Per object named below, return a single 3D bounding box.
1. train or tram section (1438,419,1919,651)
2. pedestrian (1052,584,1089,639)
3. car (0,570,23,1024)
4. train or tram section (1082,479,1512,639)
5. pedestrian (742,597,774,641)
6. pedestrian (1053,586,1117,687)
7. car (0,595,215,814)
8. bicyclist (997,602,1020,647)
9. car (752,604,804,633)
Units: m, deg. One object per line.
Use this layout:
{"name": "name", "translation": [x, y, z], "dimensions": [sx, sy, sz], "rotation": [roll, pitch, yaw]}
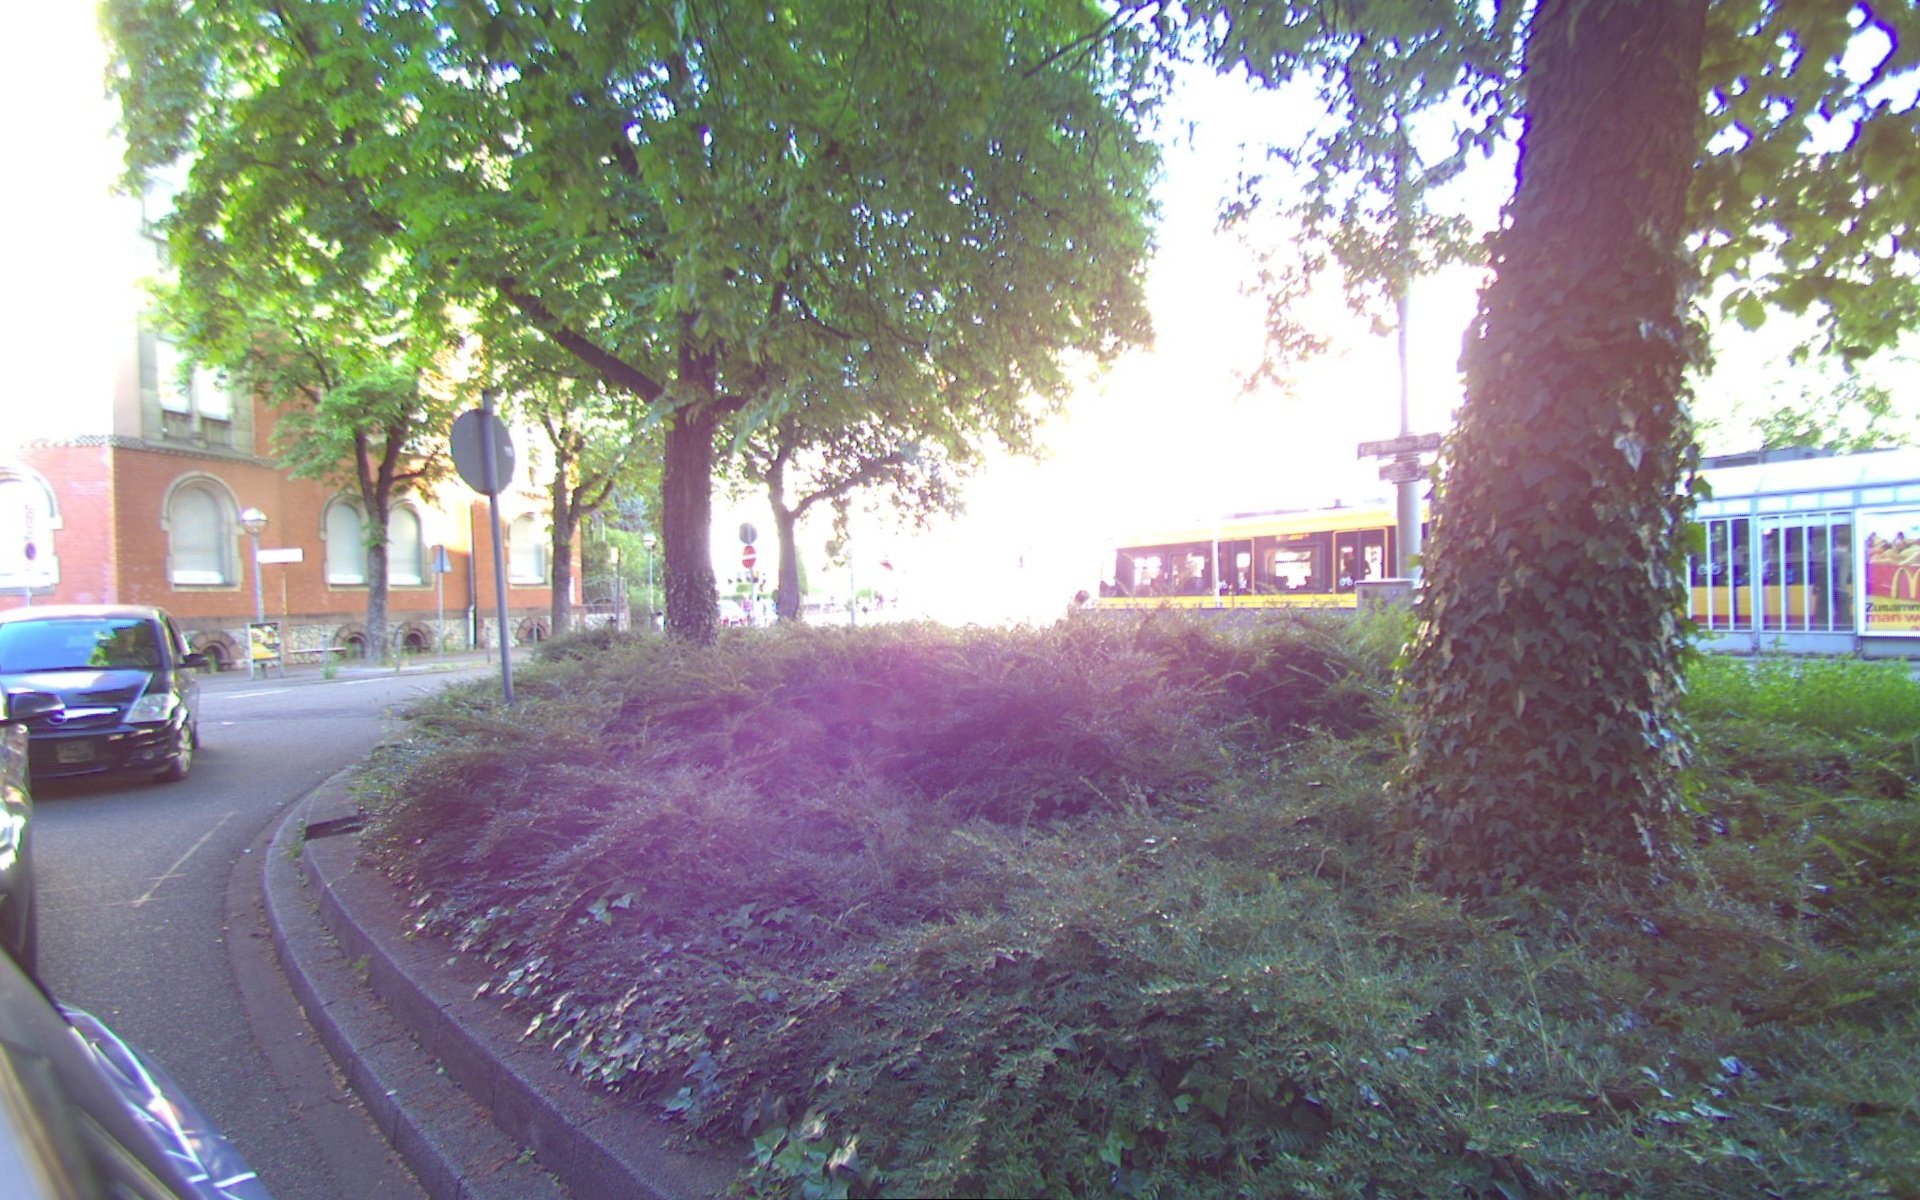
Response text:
{"name": "train or tram section", "translation": [15.191, -1.035, 18.064], "dimensions": [2.739, 3.614, 12.456], "rotation": [-2, 0, -32]}
{"name": "pedestrian", "translation": [3.443, 0.358, 31.501], "dimensions": [0.898, 1.647, 0.720], "rotation": [-3, 1, 22]}
{"name": "car", "translation": [-5.428, 0.738, 4.530], "dimensions": [1.768, 1.590, 4.264], "rotation": [-1, -1, -43]}
{"name": "train or tram section", "translation": [8.573, -0.874, 28.774], "dimensions": [2.727, 3.584, 12.718], "rotation": [-2, 0, -32]}
{"name": "pedestrian", "translation": [-7.991, 0.748, 40.053], "dimensions": [0.722, 1.647, 0.897], "rotation": [-3, 1, 27]}
{"name": "pedestrian", "translation": [1.861, 0.535, 15.150], "dimensions": [0.698, 1.454, 0.602], "rotation": [-2, 0, -25]}
{"name": "car", "translation": [-8.284, 0.839, 9.440], "dimensions": [1.656, 1.640, 3.691], "rotation": [-2, 0, -44]}
{"name": "bicyclist", "translation": [1.725, 0.859, 35.922], "dimensions": [0.588, 1.585, 0.557], "rotation": [-2, 0, -30]}
{"name": "car", "translation": [-9.646, 0.948, 53.389], "dimensions": [1.707, 1.428, 4.013], "rotation": [-2, 0, -25]}
